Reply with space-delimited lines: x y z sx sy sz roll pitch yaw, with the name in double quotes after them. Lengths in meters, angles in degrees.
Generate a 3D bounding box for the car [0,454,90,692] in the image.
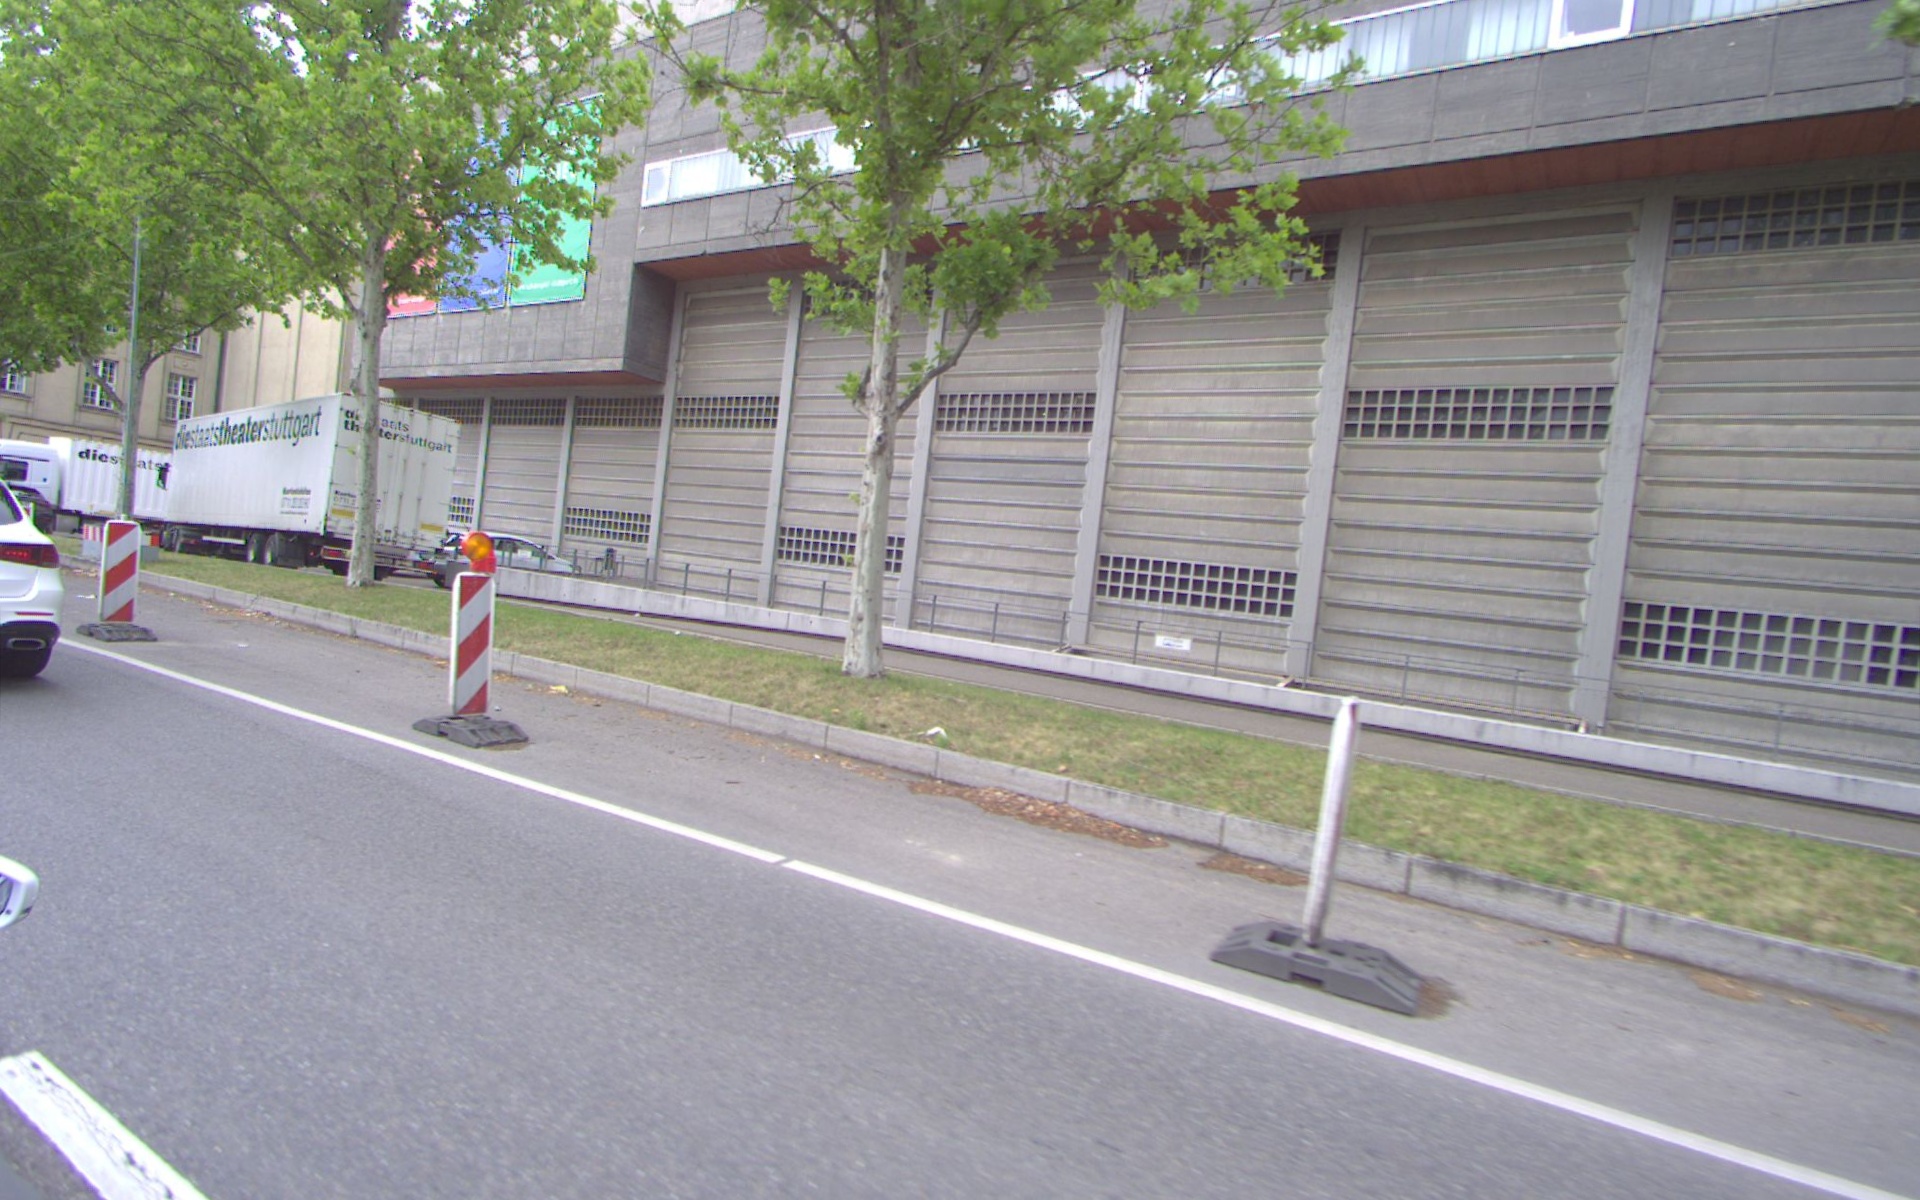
-8.859 -0.437 7.729 4.473 1.665 1.813 7 3 29 "car"

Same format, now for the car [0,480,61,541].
-28.984 -2.786 30.156 4.260 1.587 1.858 6 0 32 "car"

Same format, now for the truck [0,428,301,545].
-32.227 -4.308 39.757 2.527 3.089 10.037 6 0 32 "truck"
